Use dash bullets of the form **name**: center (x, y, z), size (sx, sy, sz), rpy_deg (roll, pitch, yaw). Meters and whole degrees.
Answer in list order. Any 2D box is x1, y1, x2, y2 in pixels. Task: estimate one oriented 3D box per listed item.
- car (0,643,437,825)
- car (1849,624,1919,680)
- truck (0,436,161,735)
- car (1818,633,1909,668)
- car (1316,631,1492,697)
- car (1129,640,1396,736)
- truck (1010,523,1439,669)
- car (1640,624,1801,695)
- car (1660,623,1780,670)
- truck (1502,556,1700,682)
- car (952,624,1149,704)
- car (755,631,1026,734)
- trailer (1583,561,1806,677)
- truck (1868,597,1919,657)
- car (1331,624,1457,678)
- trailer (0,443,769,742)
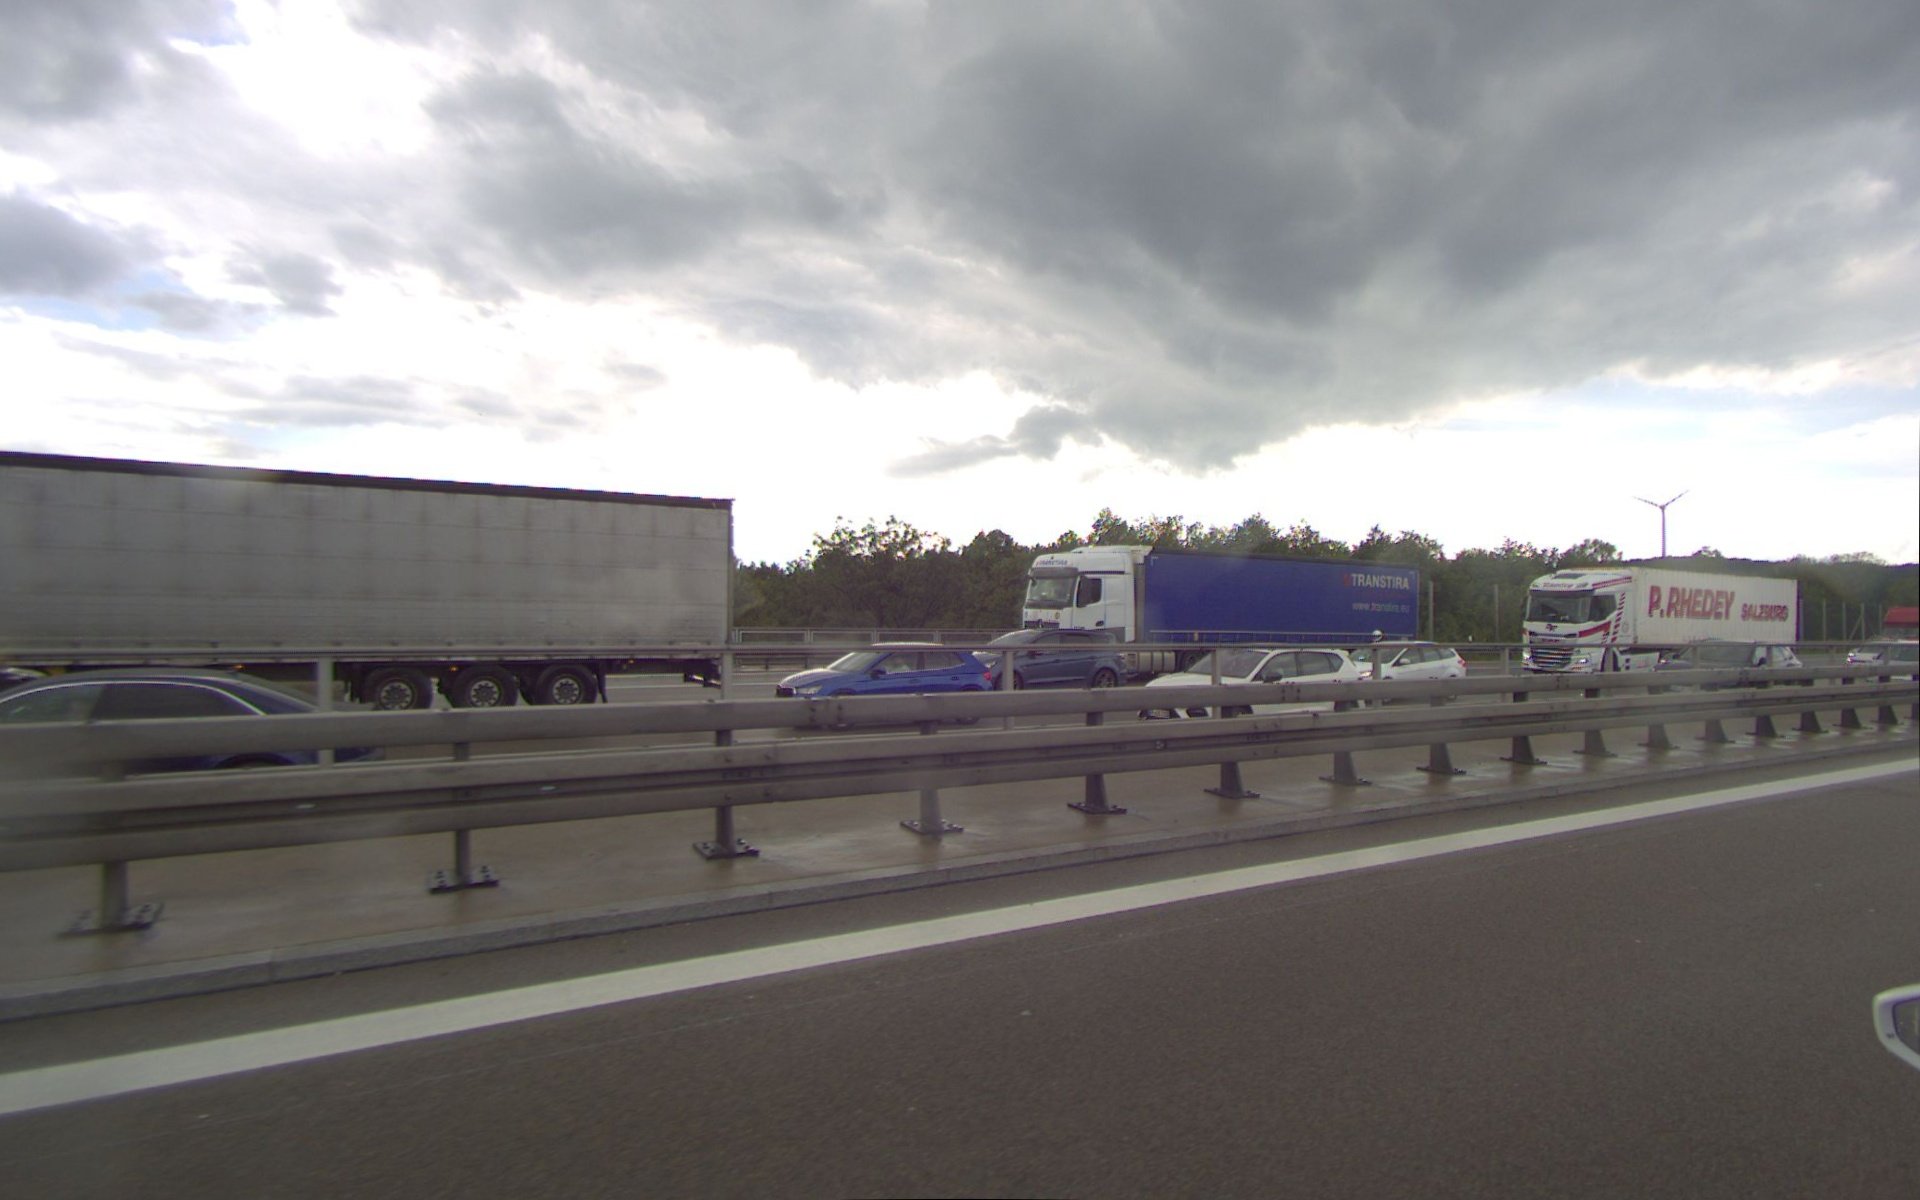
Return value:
- **car**: center (-7.284, 1.111, 9.055), size (4.482, 1.372, 1.711), rpy_deg (1, -1, -31)
- **car**: center (30.065, 1.618, 31.773), size (3.953, 1.640, 1.784), rpy_deg (1, -1, -30)
- **truck**: center (-15.782, -0.249, 13.458), size (7.485, 3.986, 3.184), rpy_deg (1, 0, -31)
- **car**: center (38.886, 2.146, 43.201), size (4.489, 1.426, 1.638), rpy_deg (1, -1, -30)
- **car**: center (11.463, 1.601, 25.827), size (4.802, 1.530, 1.638), rpy_deg (1, -1, -30)
- **car**: center (5.168, 1.395, 16.997), size (4.572, 1.372, 1.711), rpy_deg (1, -1, -31)
- **truck**: center (9.654, -0.025, 33.819), size (17.545, 4.074, 2.634), rpy_deg (1, -1, -32)
- **car**: center (19.347, 1.456, 25.514), size (4.233, 1.640, 1.784), rpy_deg (1, -1, -30)
- **car**: center (26.060, 1.560, 34.391), size (4.621, 1.523, 1.638), rpy_deg (1, -1, -30)
- **truck**: center (23.883, 0.693, 37.328), size (7.649, 4.250, 3.162), rpy_deg (1, -1, -31)
- **car**: center (2.233, 1.482, 24.537), size (4.520, 1.771, 1.959), rpy_deg (1, -1, -30)
- **car**: center (-1.215, 1.410, 18.335), size (4.643, 1.645, 1.812), rpy_deg (1, -1, -31)
- **trailer**: center (30.423, 0.768, 41.349), size (11.819, 4.250, 3.171), rpy_deg (1, -1, -31)
- **truck**: center (59.753, 1.653, 62.703), size (7.717, 3.584, 2.451), rpy_deg (1, -1, -31)
- **car**: center (13.743, 1.568, 31.776), size (3.953, 1.566, 1.638), rpy_deg (1, -1, -30)
- **trailer**: center (-9.937, -0.046, 16.967), size (12.864, 3.986, 3.228), rpy_deg (1, 0, -31)
